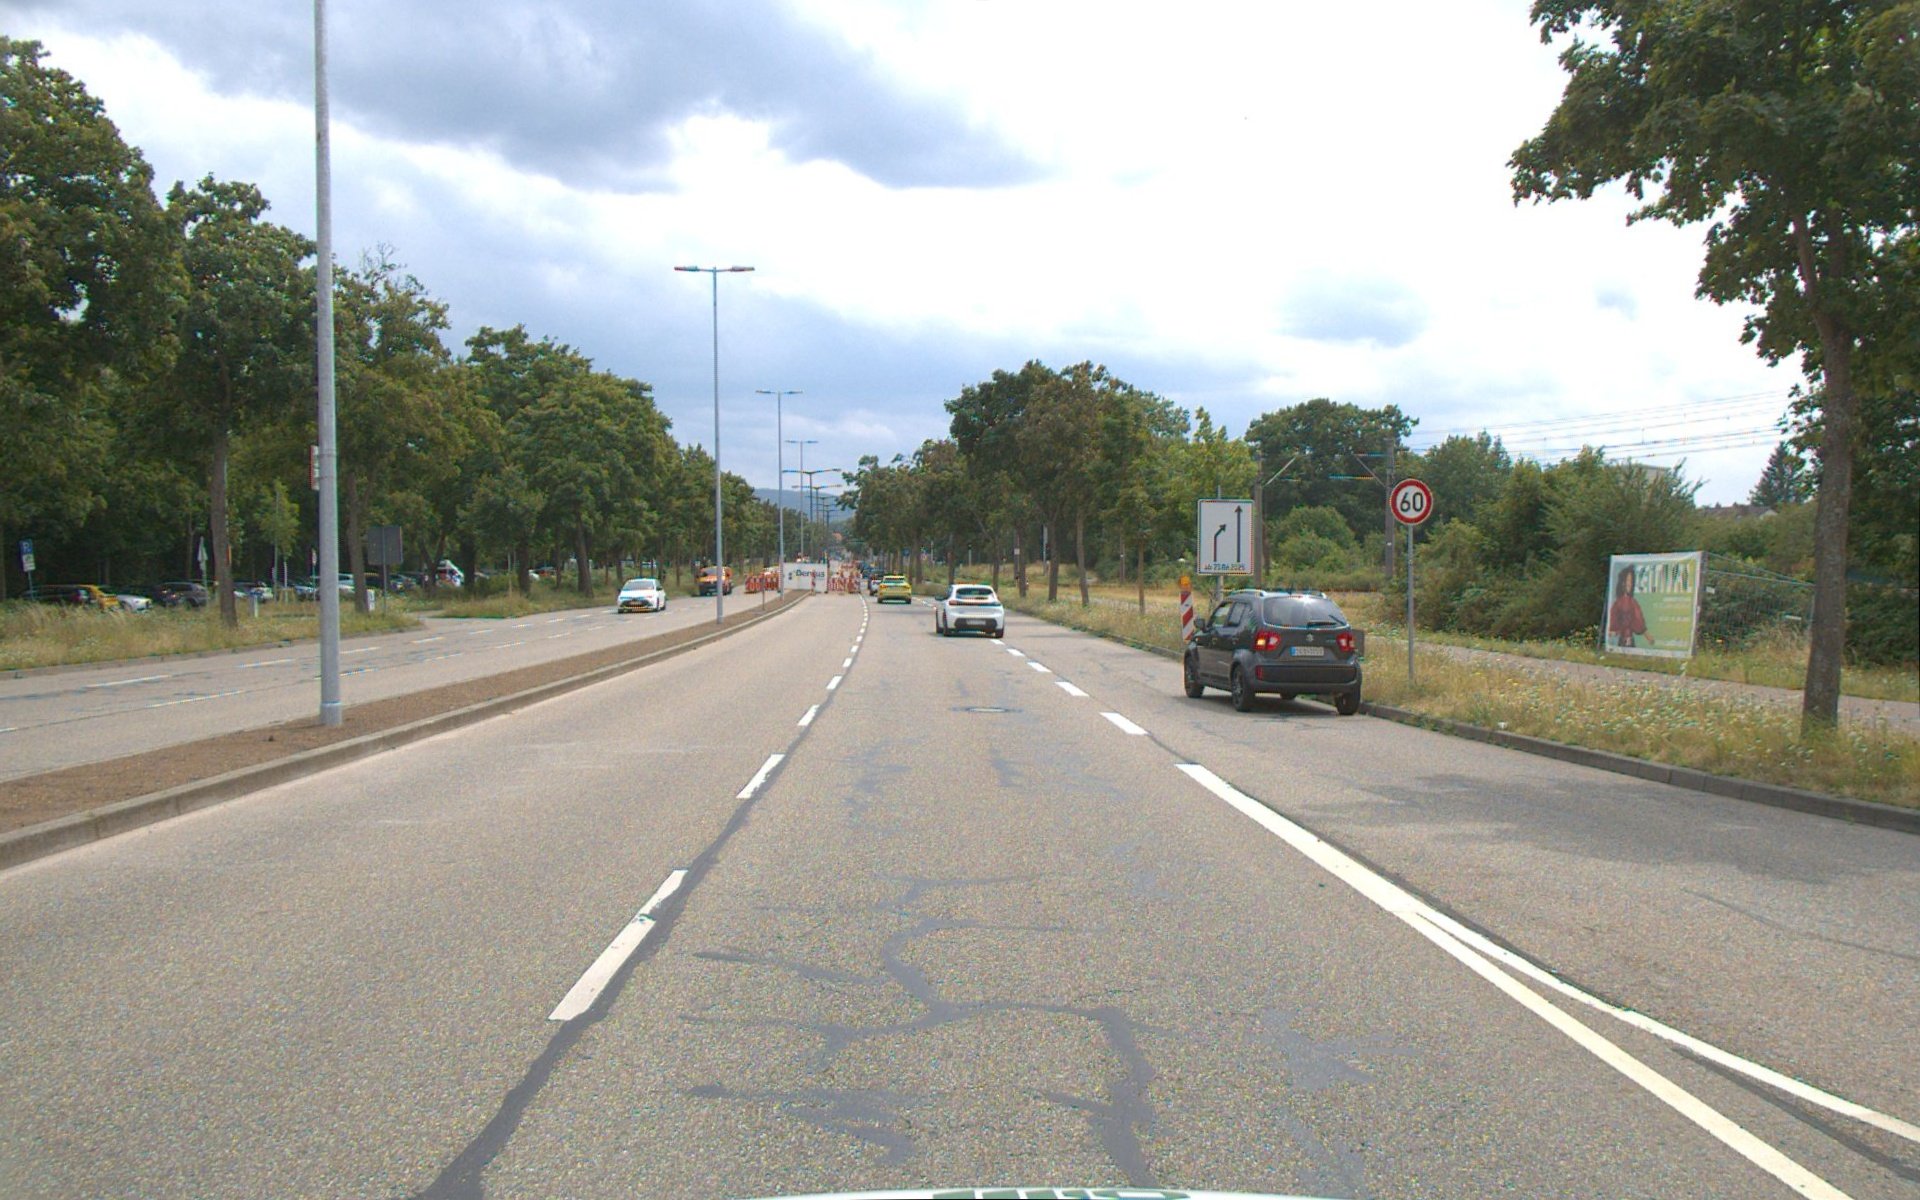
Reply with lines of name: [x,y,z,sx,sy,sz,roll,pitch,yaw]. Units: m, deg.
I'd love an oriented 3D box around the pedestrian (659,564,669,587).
pedestrian: [-24.665,-2.044,137.875,0.682,1.870,0.646,-1,2,-25]

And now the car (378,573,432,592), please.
car: [-44.719,-1.432,133.363,3.696,1.450,1.966,0,2,-1]

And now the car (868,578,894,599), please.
car: [-5.093,-0.757,106.576,1.633,1.292,3.999,0,2,-2]

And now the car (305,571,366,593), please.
car: [-44.171,-1.273,117.010,3.575,1.545,1.882,0,2,-1]

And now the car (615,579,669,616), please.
car: [-14.088,-0.133,73.530,1.682,1.444,4.159,-2,2,-2]

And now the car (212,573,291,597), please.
car: [-43.159,-0.912,100.831,3.904,1.435,2.001,0,2,1]

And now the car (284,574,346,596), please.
car: [-43.690,-1.022,112.087,3.575,1.436,1.517,0,2,-1]

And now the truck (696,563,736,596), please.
truck: [-16.746,-1.442,113.941,2.047,2.029,6.037,-2,2,-2]

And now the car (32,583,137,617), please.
car: [-40.848,-0.032,77.253,3.906,1.524,1.785,0,2,-2]

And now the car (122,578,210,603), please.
car: [-42.159,-0.532,87.893,3.907,1.281,1.563,0,2,-3]

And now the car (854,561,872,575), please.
car: [-12.470,-4.100,213.246,2.161,1.713,4.000,0,2,-1]

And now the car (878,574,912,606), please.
car: [-3.445,-0.556,87.631,1.757,1.589,3.999,0,2,-2]

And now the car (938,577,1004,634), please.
car: [0.270,0.129,47.256,1.731,1.489,3.999,0,2,-2]

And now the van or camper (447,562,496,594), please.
van or camper: [-44.157,-1.985,149.594,3.908,2.804,1.926,0,2,-4]

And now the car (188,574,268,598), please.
car: [-43.308,-0.852,97.913,3.906,1.384,1.822,0,2,-1]

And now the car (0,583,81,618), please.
car: [-40.756,0.007,71.993,3.906,1.474,2.000,0,2,-1]

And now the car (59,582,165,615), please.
car: [-40.770,-0.094,79.551,4.096,1.524,1.885,0,2,-2]

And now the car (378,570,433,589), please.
car: [-43.665,-1.597,130.224,3.655,1.433,1.999,0,2,-3]

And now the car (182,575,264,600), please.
car: [-42.356,-0.737,95.086,3.906,1.384,1.667,0,2,-1]

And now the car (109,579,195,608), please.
car: [-41.027,-0.340,83.997,3.575,1.436,1.517,0,2,-1]

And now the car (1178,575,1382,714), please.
car: [4.360,0.545,23.143,1.671,1.697,3.995,1,1,-6]
